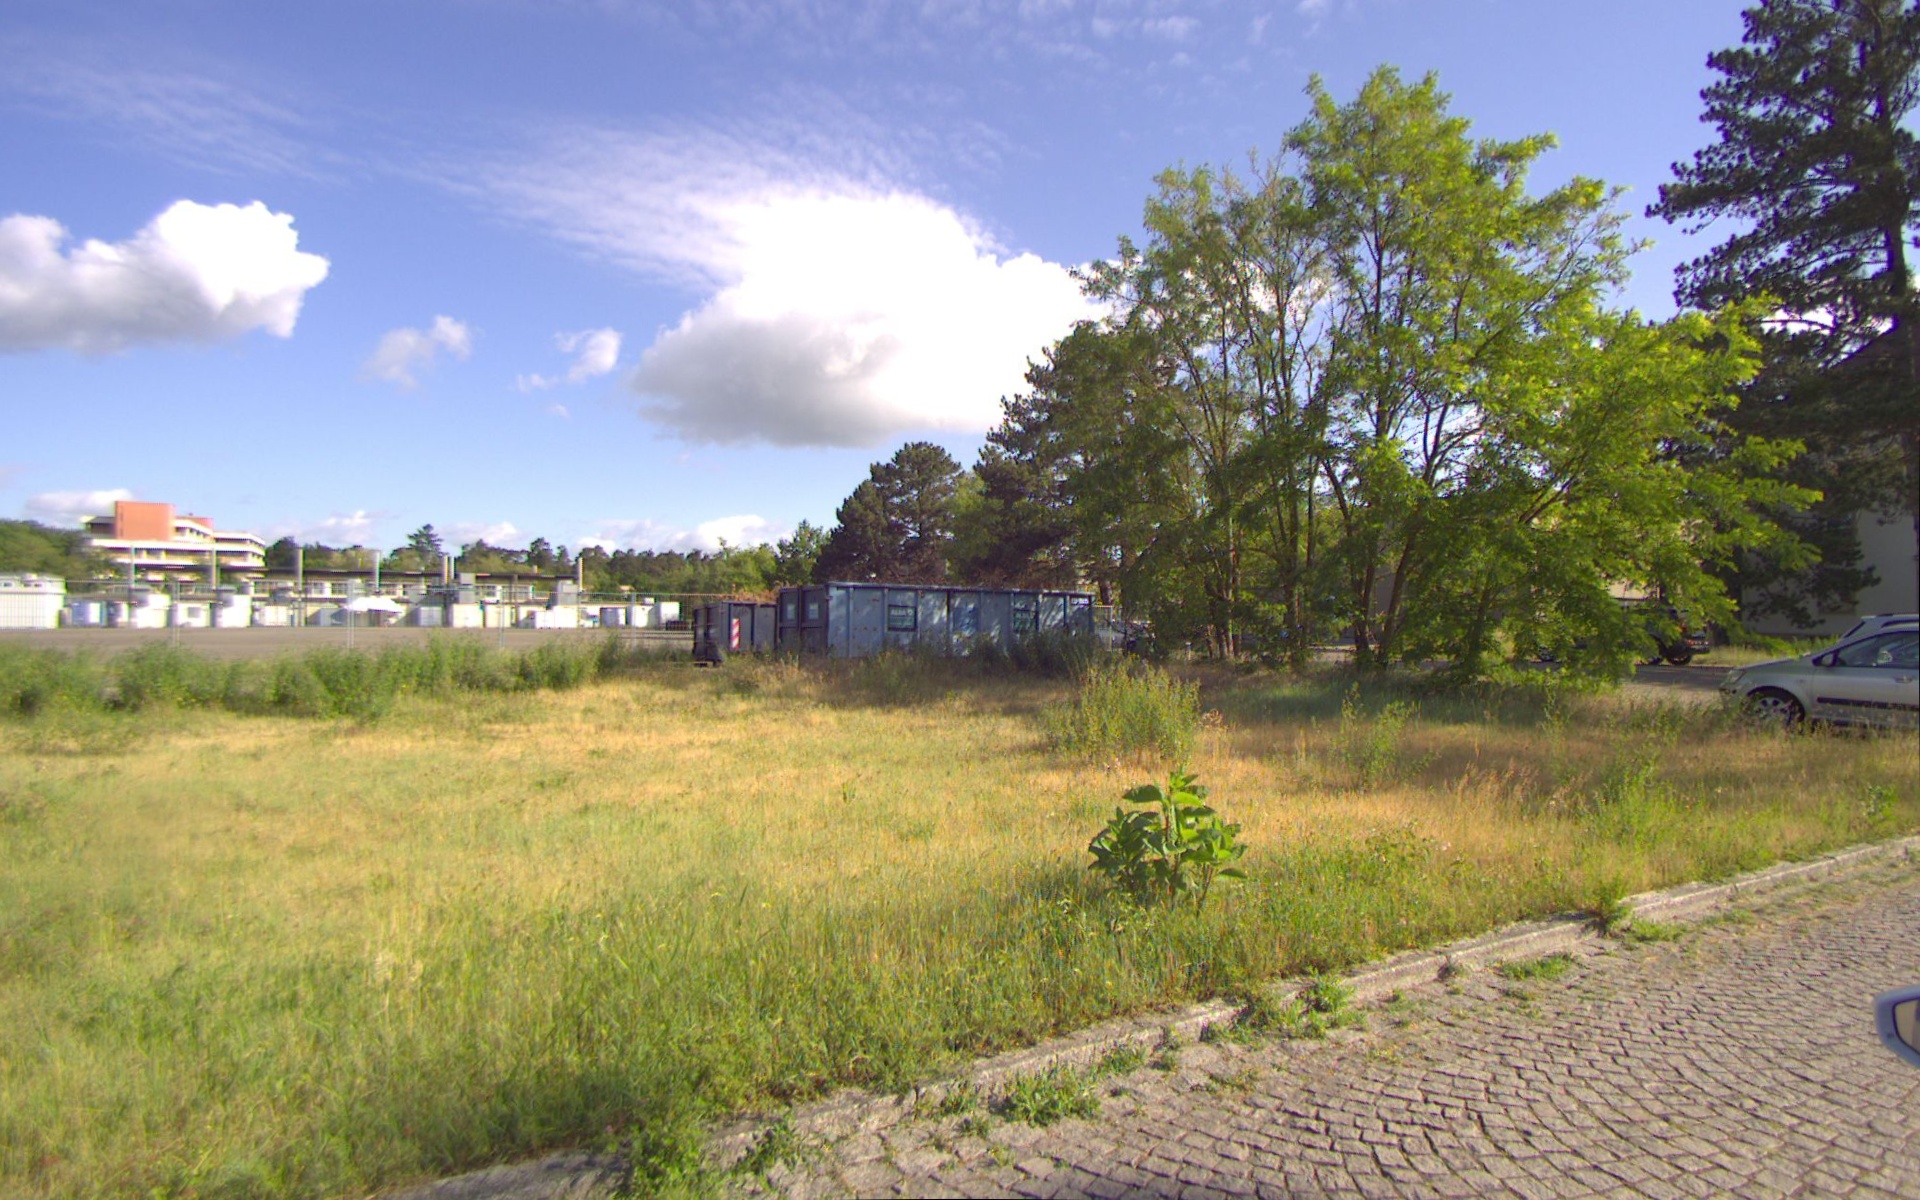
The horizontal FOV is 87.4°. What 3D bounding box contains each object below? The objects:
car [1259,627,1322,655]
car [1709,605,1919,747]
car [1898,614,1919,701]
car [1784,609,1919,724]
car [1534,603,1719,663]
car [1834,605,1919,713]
[{"bbox_3d":[22.295,2.731,67.718,3.951,1.802,1.858,1,-1,-27],"label":"car"},{"bbox_3d":[11.610,0.915,12.175,1.680,1.548,3.666,1,2,-31],"label":"car"},{"bbox_3d":[18.334,1.080,16.444,1.748,1.516,3.975,1,1,-24],"label":"car"},{"bbox_3d":[13.869,0.967,13.524,1.671,1.464,3.918,1,2,-30],"label":"car"},{"bbox_3d":[19.439,0.923,29.476,1.984,1.630,4.128,1,-1,-28],"label":"car"},{"bbox_3d":[16.055,0.971,15.235,1.641,1.637,3.861,1,1,-30],"label":"car"}]
